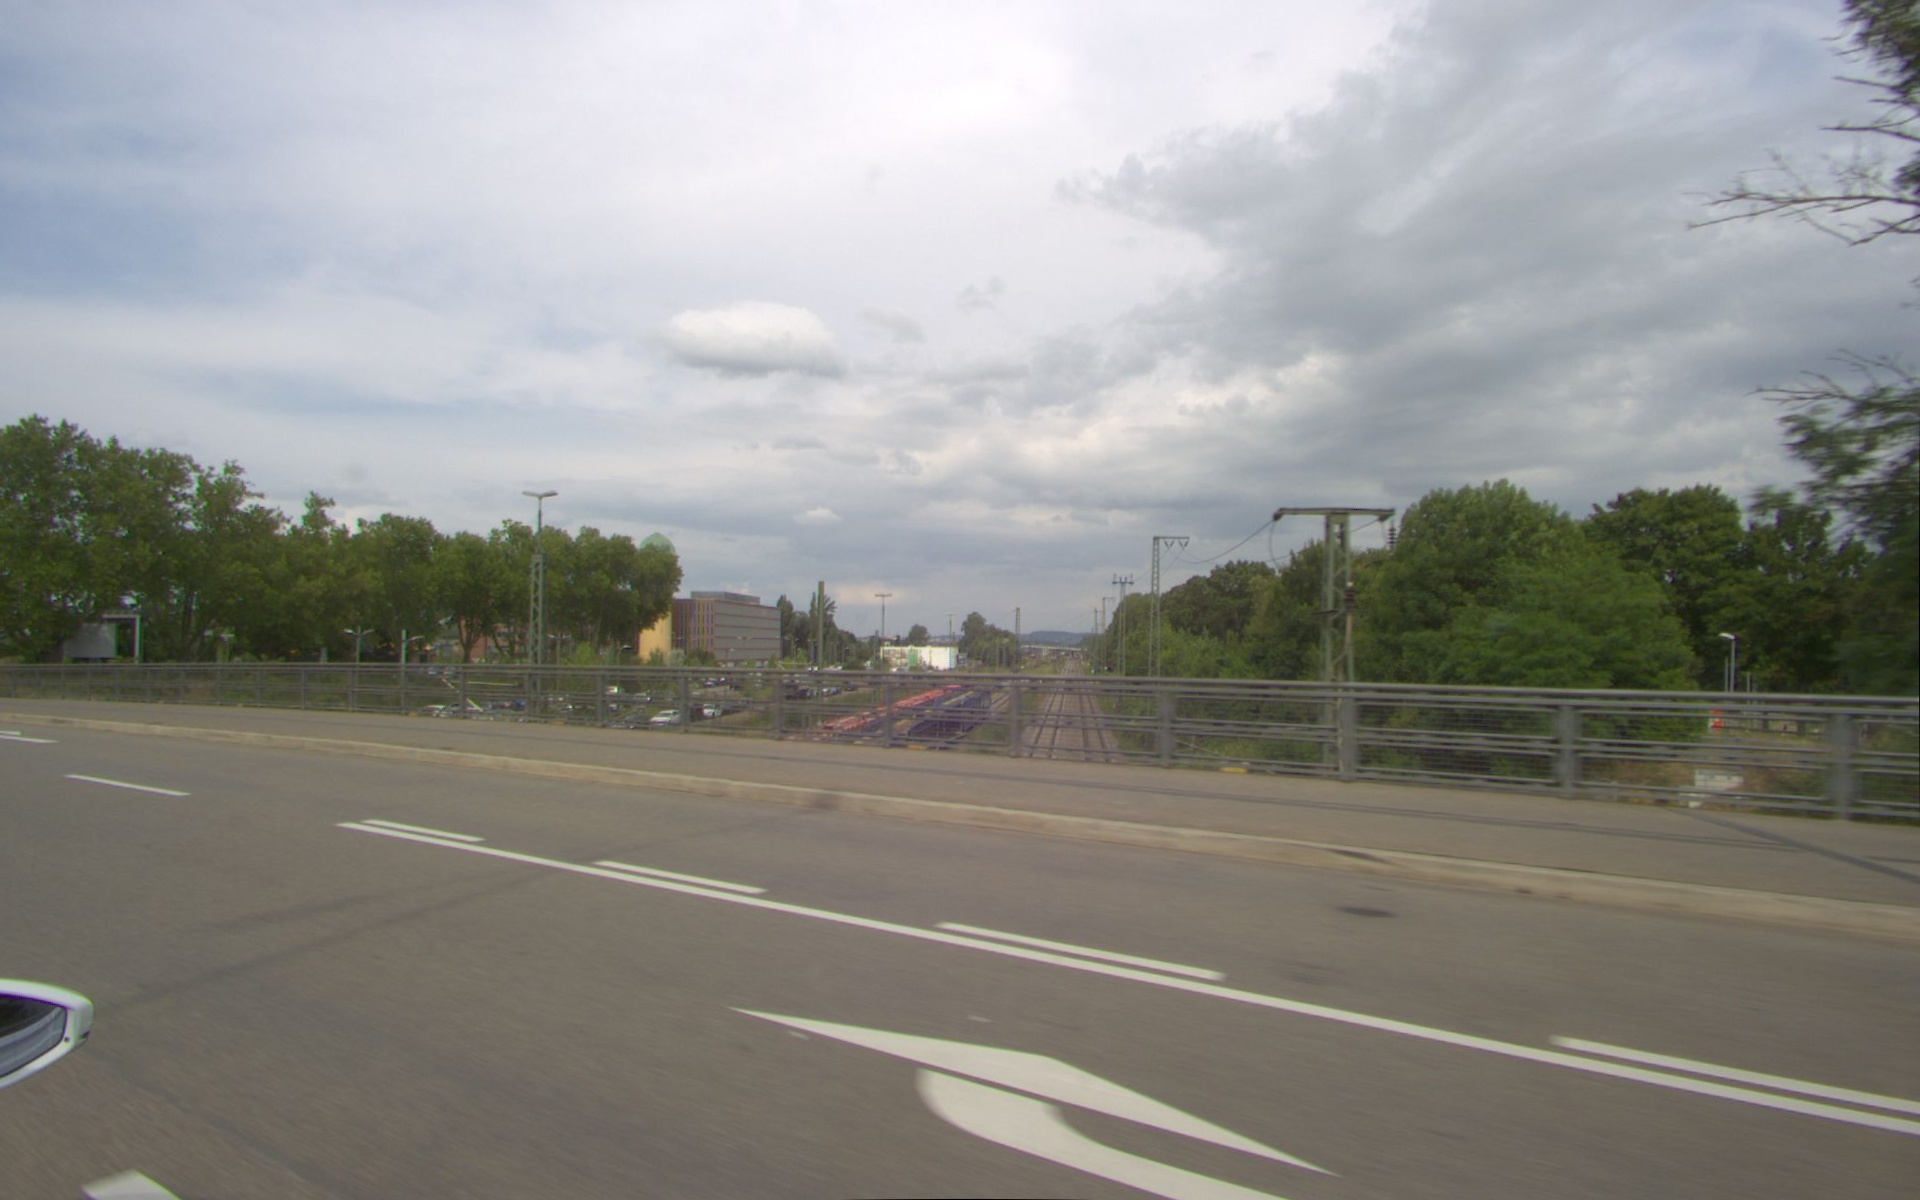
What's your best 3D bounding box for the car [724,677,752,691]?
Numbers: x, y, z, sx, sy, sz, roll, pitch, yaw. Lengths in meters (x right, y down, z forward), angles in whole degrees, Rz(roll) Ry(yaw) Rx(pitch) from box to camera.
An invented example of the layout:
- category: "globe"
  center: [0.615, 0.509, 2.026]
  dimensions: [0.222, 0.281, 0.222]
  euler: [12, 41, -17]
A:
- category: "car"
  center: [-34.768, 13.146, 157.036]
  dimensions: [3.922, 2.039, 1.764]
  euler: [0, -2, 2]
